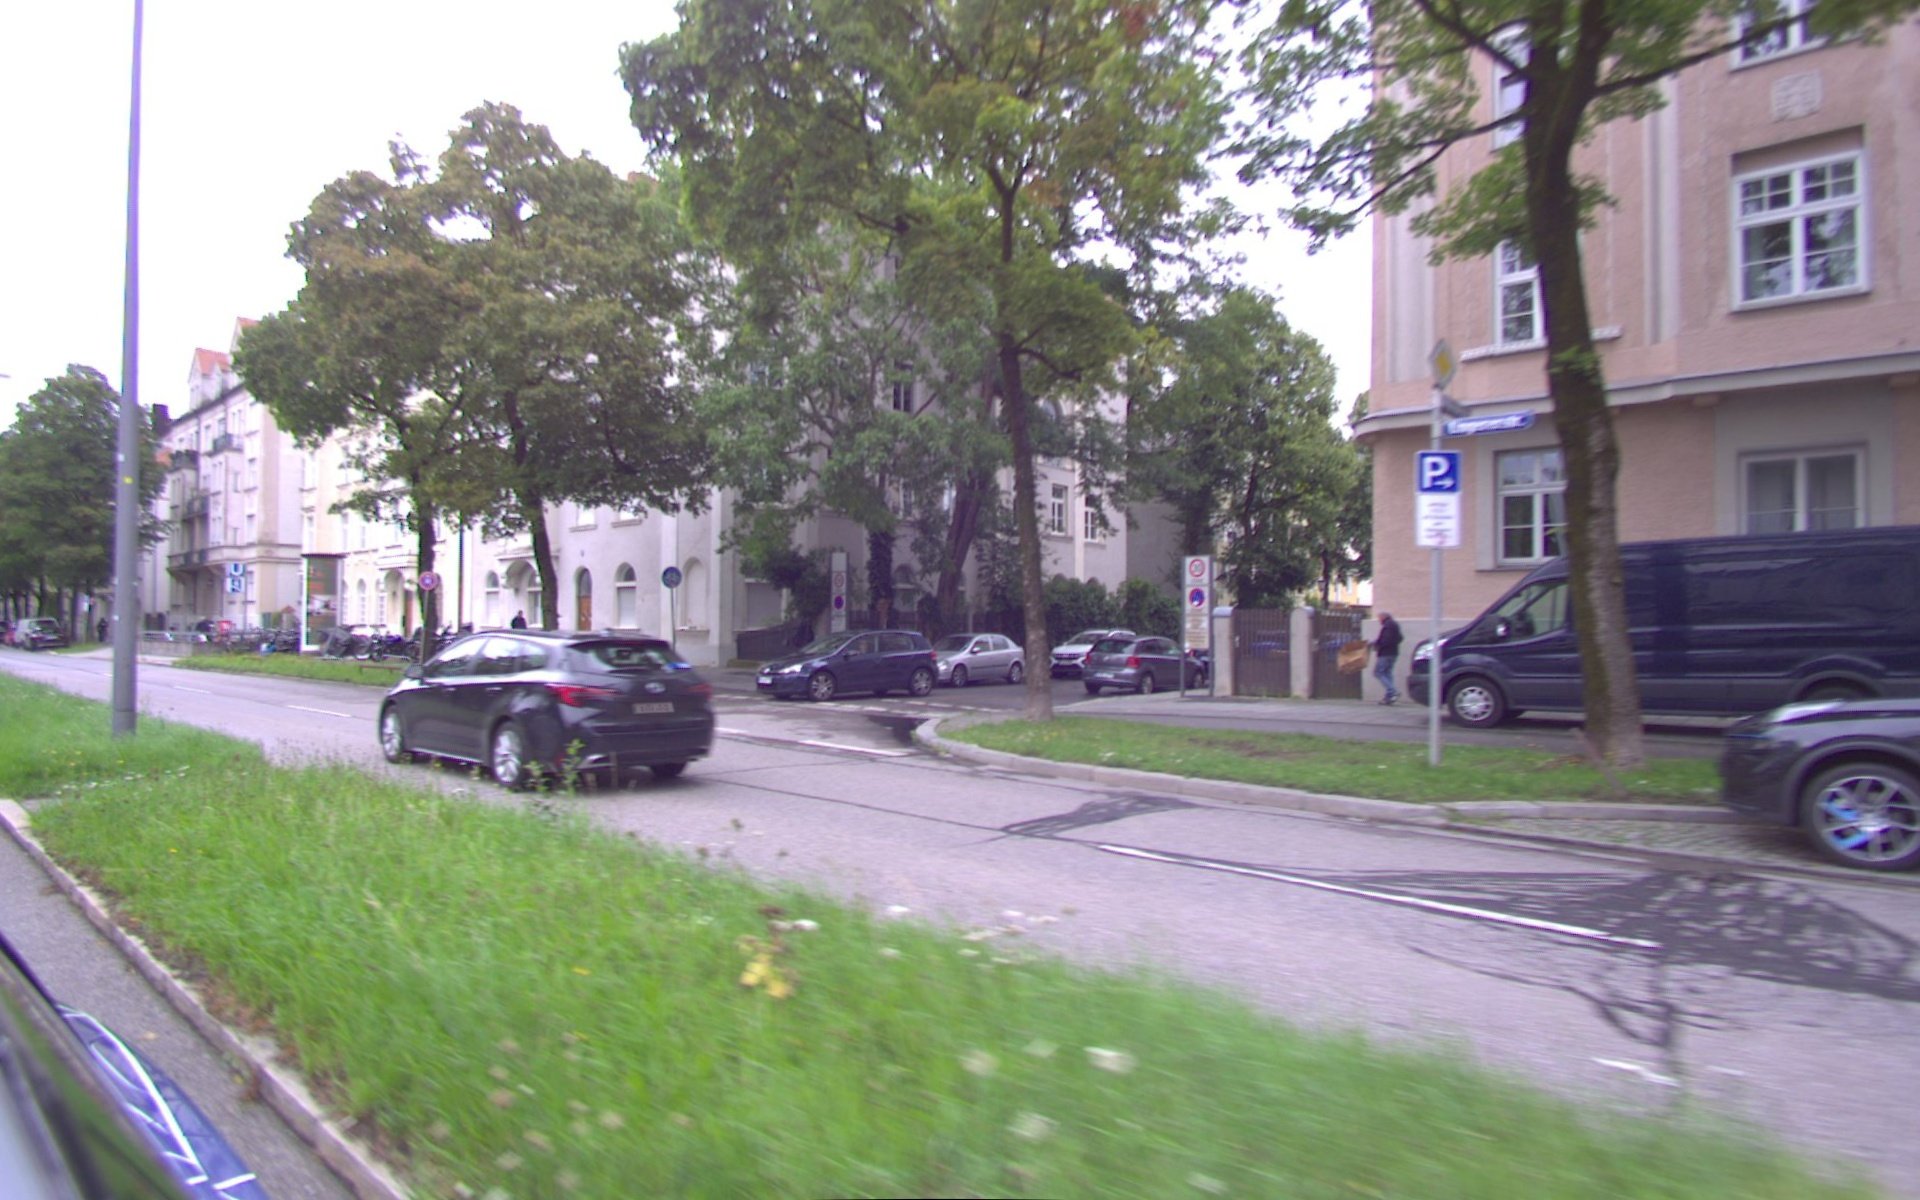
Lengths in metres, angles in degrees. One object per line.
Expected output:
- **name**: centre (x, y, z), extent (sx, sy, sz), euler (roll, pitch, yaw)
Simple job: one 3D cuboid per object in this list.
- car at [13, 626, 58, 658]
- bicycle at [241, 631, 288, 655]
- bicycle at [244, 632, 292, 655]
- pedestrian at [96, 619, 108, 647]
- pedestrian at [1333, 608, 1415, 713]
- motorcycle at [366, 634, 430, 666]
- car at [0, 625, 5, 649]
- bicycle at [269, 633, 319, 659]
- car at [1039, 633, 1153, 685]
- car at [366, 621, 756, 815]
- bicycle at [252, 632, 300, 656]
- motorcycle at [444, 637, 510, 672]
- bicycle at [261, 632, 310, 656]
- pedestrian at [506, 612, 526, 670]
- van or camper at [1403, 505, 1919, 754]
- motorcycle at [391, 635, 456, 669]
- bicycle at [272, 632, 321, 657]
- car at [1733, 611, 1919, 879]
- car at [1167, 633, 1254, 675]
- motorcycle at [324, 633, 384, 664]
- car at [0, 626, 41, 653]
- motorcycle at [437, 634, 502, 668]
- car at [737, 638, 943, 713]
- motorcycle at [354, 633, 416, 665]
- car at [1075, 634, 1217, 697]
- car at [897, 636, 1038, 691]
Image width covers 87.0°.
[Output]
- **car**: centre (-60.637, 2.751, 66.368), extent (3.998, 2.029, 1.767), euler (-2, -2, 41)
- **bicycle**: centre (-35.507, 2.195, 51.706), extent (1.924, 1.158, 0.598), euler (1, -2, -28)
- **bicycle**: centre (-34.946, 2.186, 51.125), extent (1.924, 1.158, 0.598), euler (1, -2, -28)
- **pedestrian**: centre (-62.200, 2.397, 73.354), extent (0.631, 2.058, 0.739), euler (1, -2, -38)
- **pedestrian**: centre (7.055, 1.007, 17.258), extent (1.082, 1.723, 0.740), euler (-2, -2, 41)
- **motorcycle**: centre (-20.354, 1.806, 36.670), extent (1.926, 1.158, 0.597), euler (0, -2, -11)
- **car**: centre (-75.916, 2.915, 78.825), extent (3.998, 1.852, 1.848), euler (-2, -2, 41)
- **bicycle**: centre (-31.034, 2.135, 47.183), extent (1.924, 1.158, 0.598), euler (1, -2, -28)
- **car**: centre (4.371, 1.820, 32.206), extent (1.793, 1.496, 3.947), euler (-1, -2, 39)
- **car**: centre (-4.100, 1.015, 10.047), extent (4.321, 1.518, 1.791), euler (-2, -4, 41)
- **bicycle**: centre (-34.164, 2.178, 50.583), extent (1.924, 1.158, 0.598), euler (1, -2, -28)
- **motorcycle**: centre (-16.190, 1.815, 33.962), extent (1.926, 1.158, 0.597), euler (0, -2, -11)
- **bicycle**: centre (-32.978, 2.157, 49.487), extent (1.924, 1.158, 0.598), euler (1, -2, -28)
- **pedestrian**: centre (-16.051, 1.467, 36.600), extent (0.590, 2.075, 0.686), euler (1, -2, -30)
- **van or camper**: centre (9.467, 0.355, 12.616), extent (6.848, 2.599, 2.321), euler (-2, -2, 41)
- **motorcycle**: centre (-19.003, 1.830, 35.862), extent (1.926, 1.158, 0.597), euler (0, -2, -11)
- **bicycle**: centre (-31.874, 2.147, 48.648), extent (1.924, 1.158, 0.598), euler (1, -2, -28)
- **car**: centre (7.661, 0.909, 6.269), extent (4.436, 1.700, 1.854), euler (-2, -2, 41)
- **car**: centre (9.788, 2.064, 39.386), extent (1.793, 1.496, 3.947), euler (-1, -2, 39)
- **motorcycle**: centre (-23.101, 1.847, 38.600), extent (1.924, 1.158, 0.598), euler (1, -2, -28)
- **car**: centre (-67.250, 2.799, 72.312), extent (3.998, 1.852, 1.848), euler (-2, -2, 41)
- **motorcycle**: centre (-16.959, 1.765, 35.027), extent (1.926, 1.158, 0.597), euler (0, -2, -11)
- **car**: centre (-2.499, 1.541, 21.451), extent (3.936, 1.386, 1.865), euler (1, -3, -39)
- **motorcycle**: centre (-21.328, 1.817, 37.572), extent (1.926, 1.158, 0.597), euler (0, -2, -11)
- **car**: centre (4.624, 1.547, 24.861), extent (1.910, 1.382, 3.660), euler (-1, -2, 39)
- **car**: centre (0.266, 1.686, 27.619), extent (1.793, 1.332, 3.947), euler (-1, -2, 39)
